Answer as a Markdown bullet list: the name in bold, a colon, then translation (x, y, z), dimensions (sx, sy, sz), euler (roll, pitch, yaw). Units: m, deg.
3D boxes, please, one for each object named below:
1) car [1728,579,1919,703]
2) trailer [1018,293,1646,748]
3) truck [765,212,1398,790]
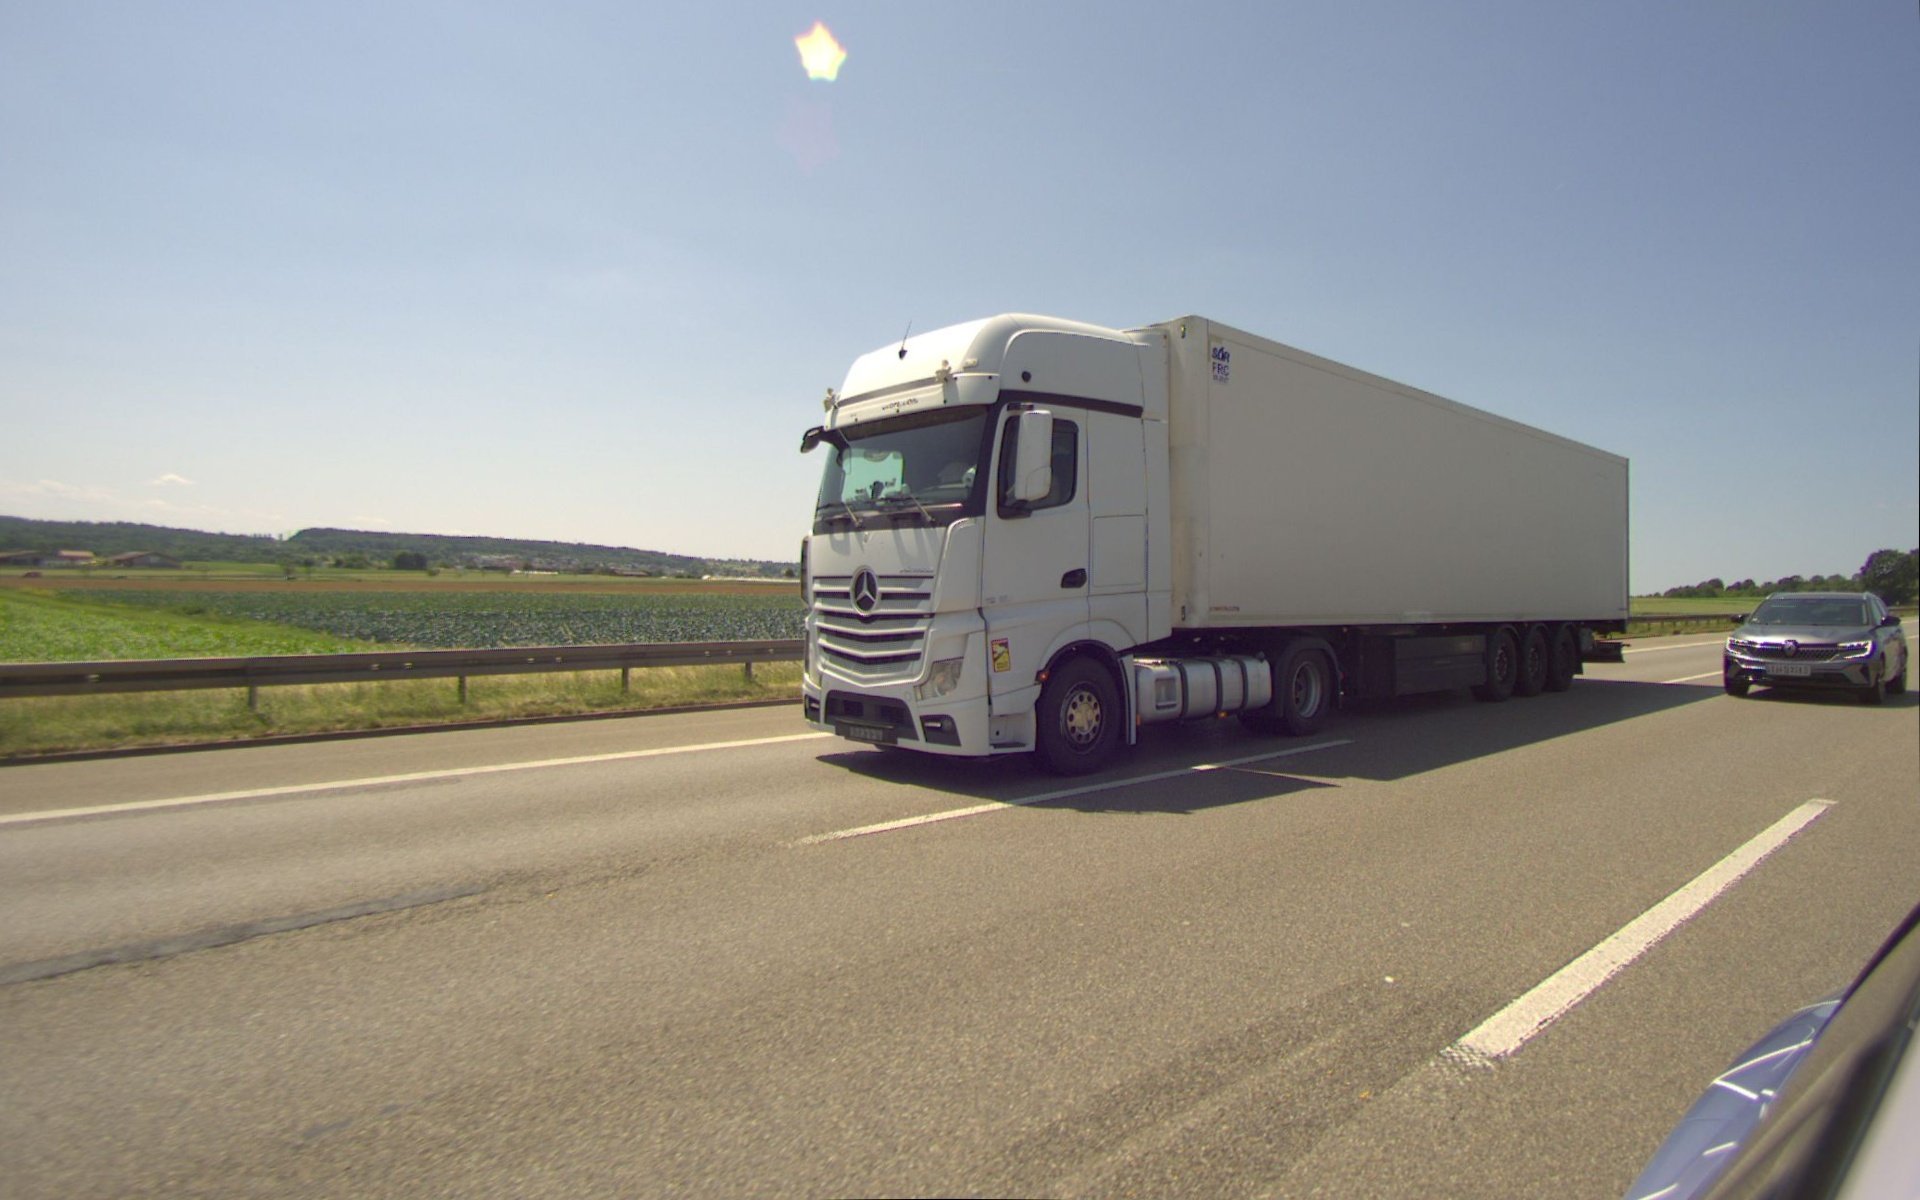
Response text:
- **car**: translation (13.797, 0.544, 15.972), dimensions (4.565, 1.669, 1.854), euler (0, 1, -42)
- **trailer**: translation (6.494, -0.793, 14.928), dimensions (13.064, 4.273, 2.872), euler (0, 0, -42)
- **truck**: translation (1.639, -0.736, 10.600), dimensions (6.761, 4.143, 2.866), euler (0, 0, -42)
